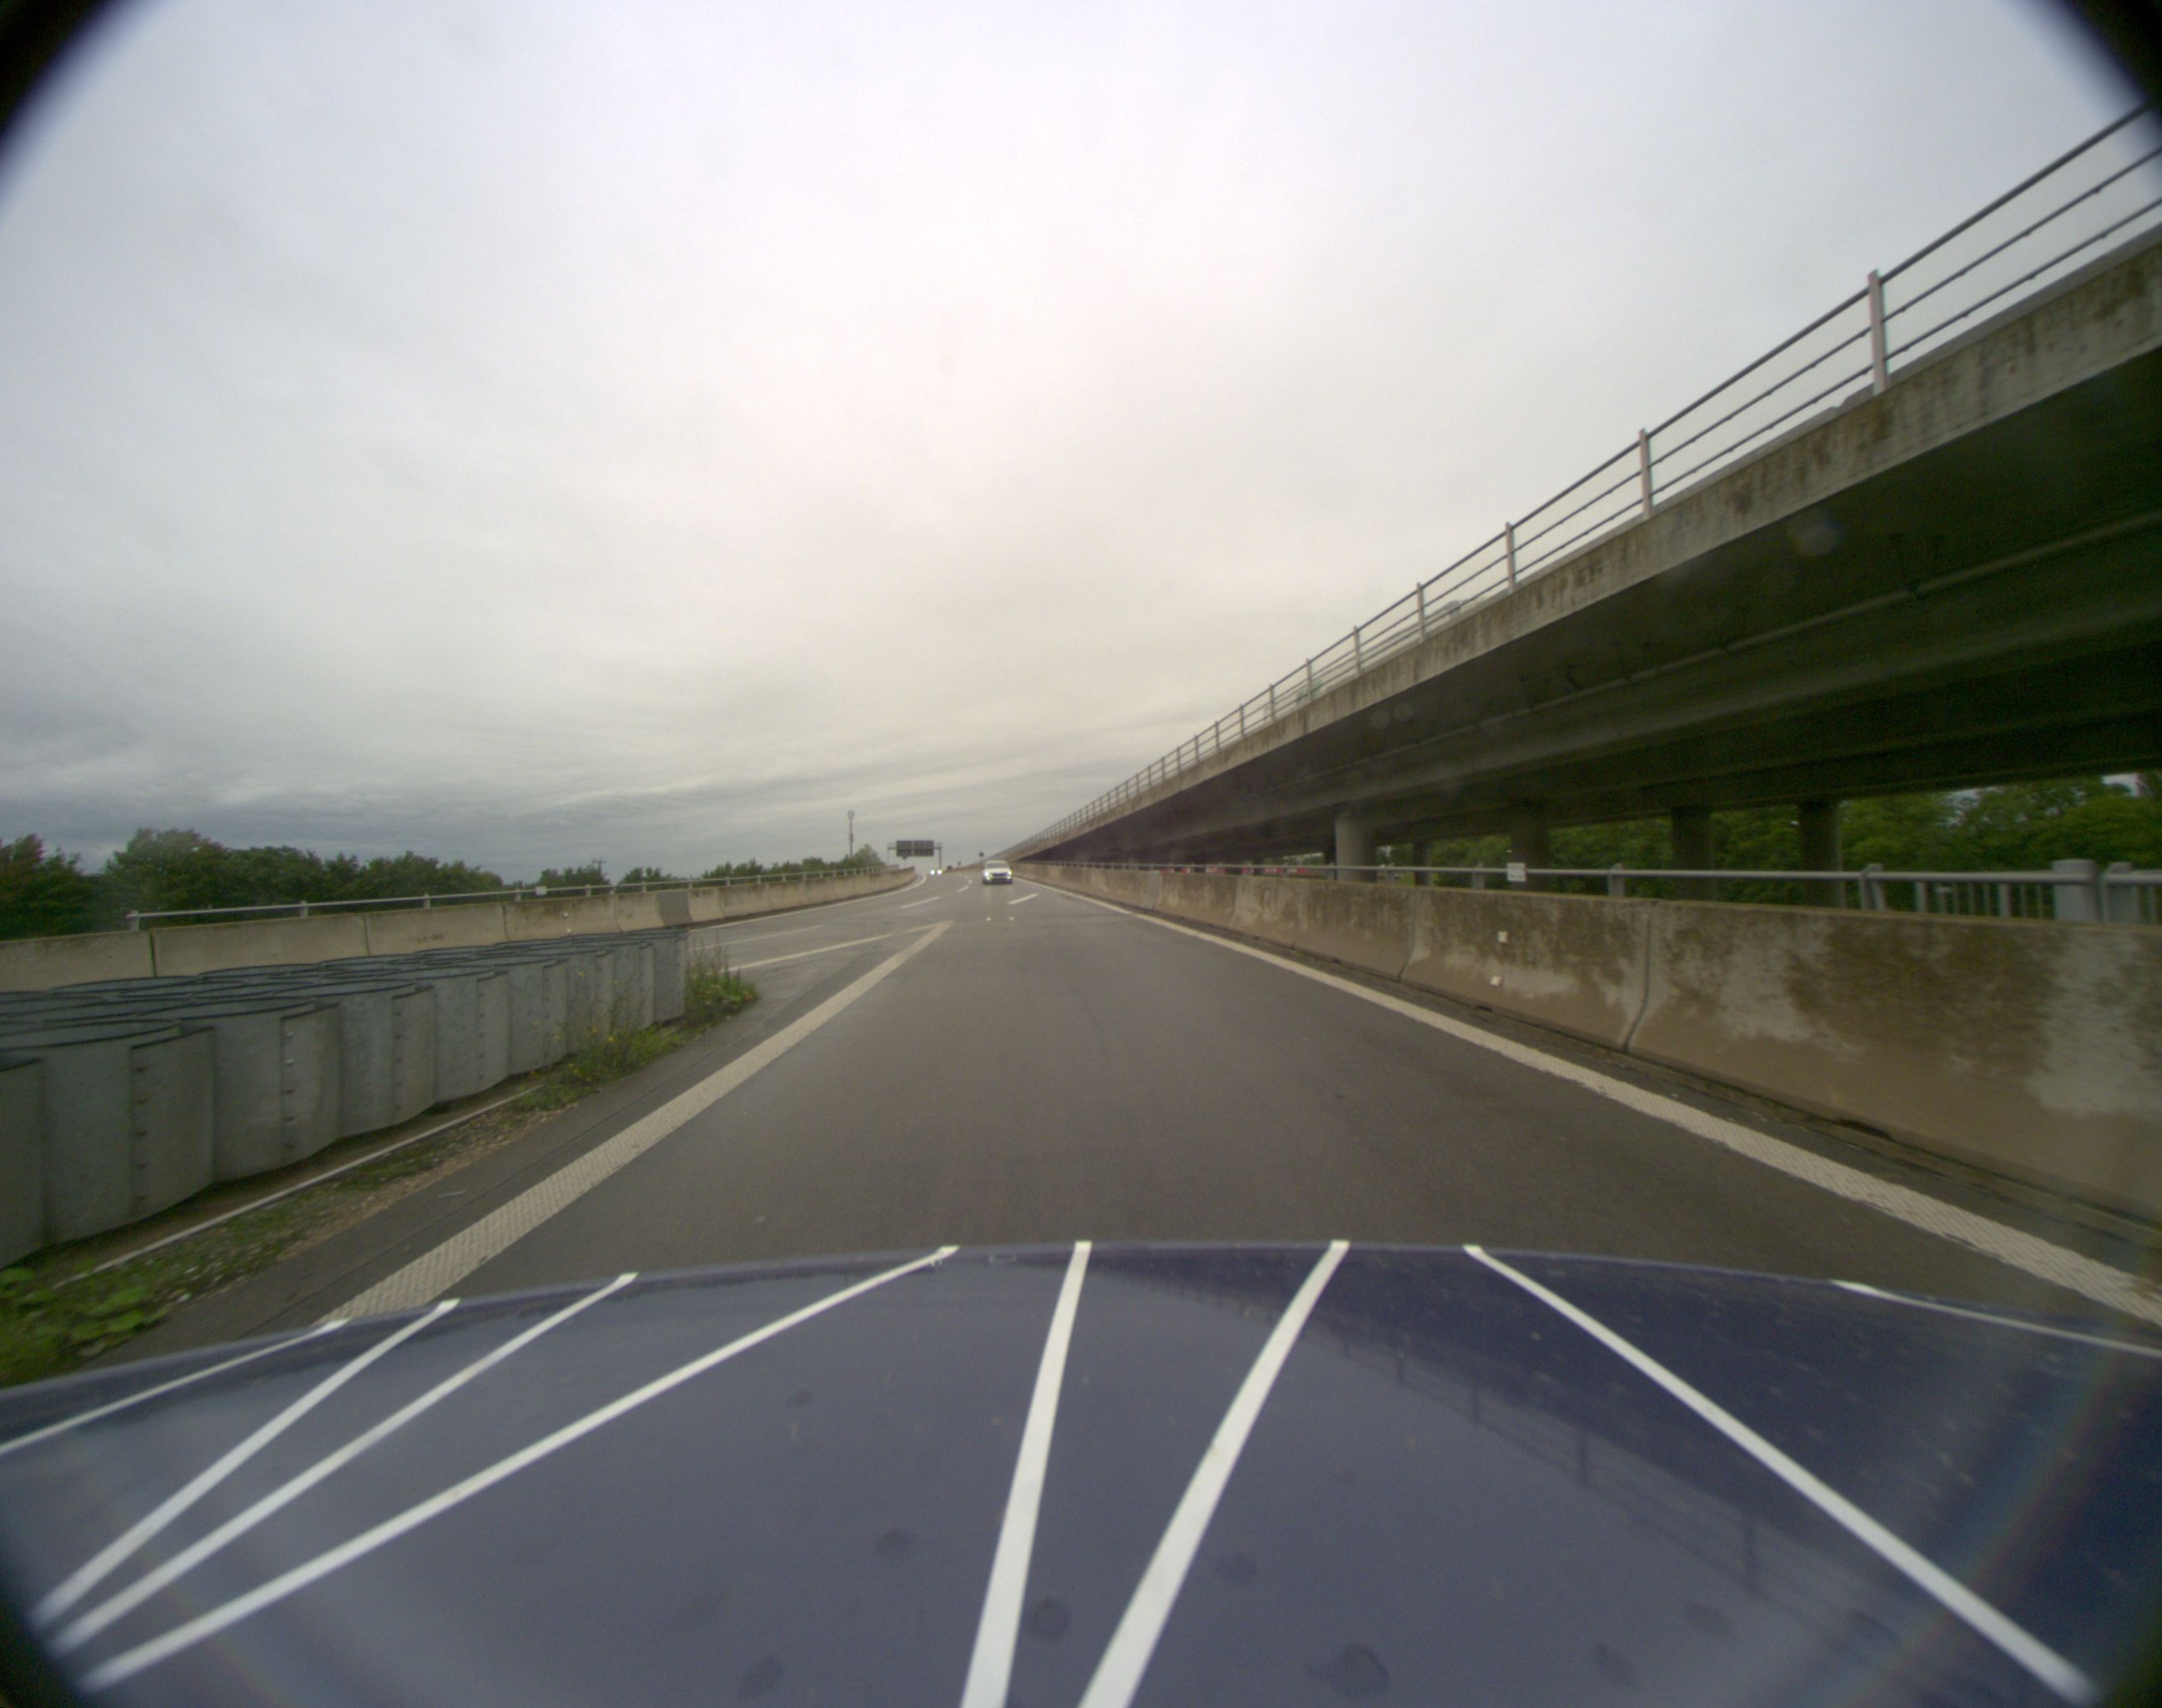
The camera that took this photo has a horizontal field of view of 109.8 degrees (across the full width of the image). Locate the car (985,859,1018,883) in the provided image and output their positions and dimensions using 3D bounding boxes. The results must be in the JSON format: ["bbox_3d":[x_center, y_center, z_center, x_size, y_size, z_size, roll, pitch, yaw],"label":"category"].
[{"bbox_3d":[-5.108,1.073,48.376,1.916,1.439,4.553,0,-1,-8],"label":"car"}]

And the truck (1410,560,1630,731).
[{"bbox_3d":[12.356,-5.753,21.992,2.597,3.225,5.192,-2,-3,-10],"label":"truck"}]

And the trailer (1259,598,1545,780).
[{"bbox_3d":[11.040,-5.491,29.123,2.666,3.277,14.054,-2,-2,-10],"label":"trailer"}]
